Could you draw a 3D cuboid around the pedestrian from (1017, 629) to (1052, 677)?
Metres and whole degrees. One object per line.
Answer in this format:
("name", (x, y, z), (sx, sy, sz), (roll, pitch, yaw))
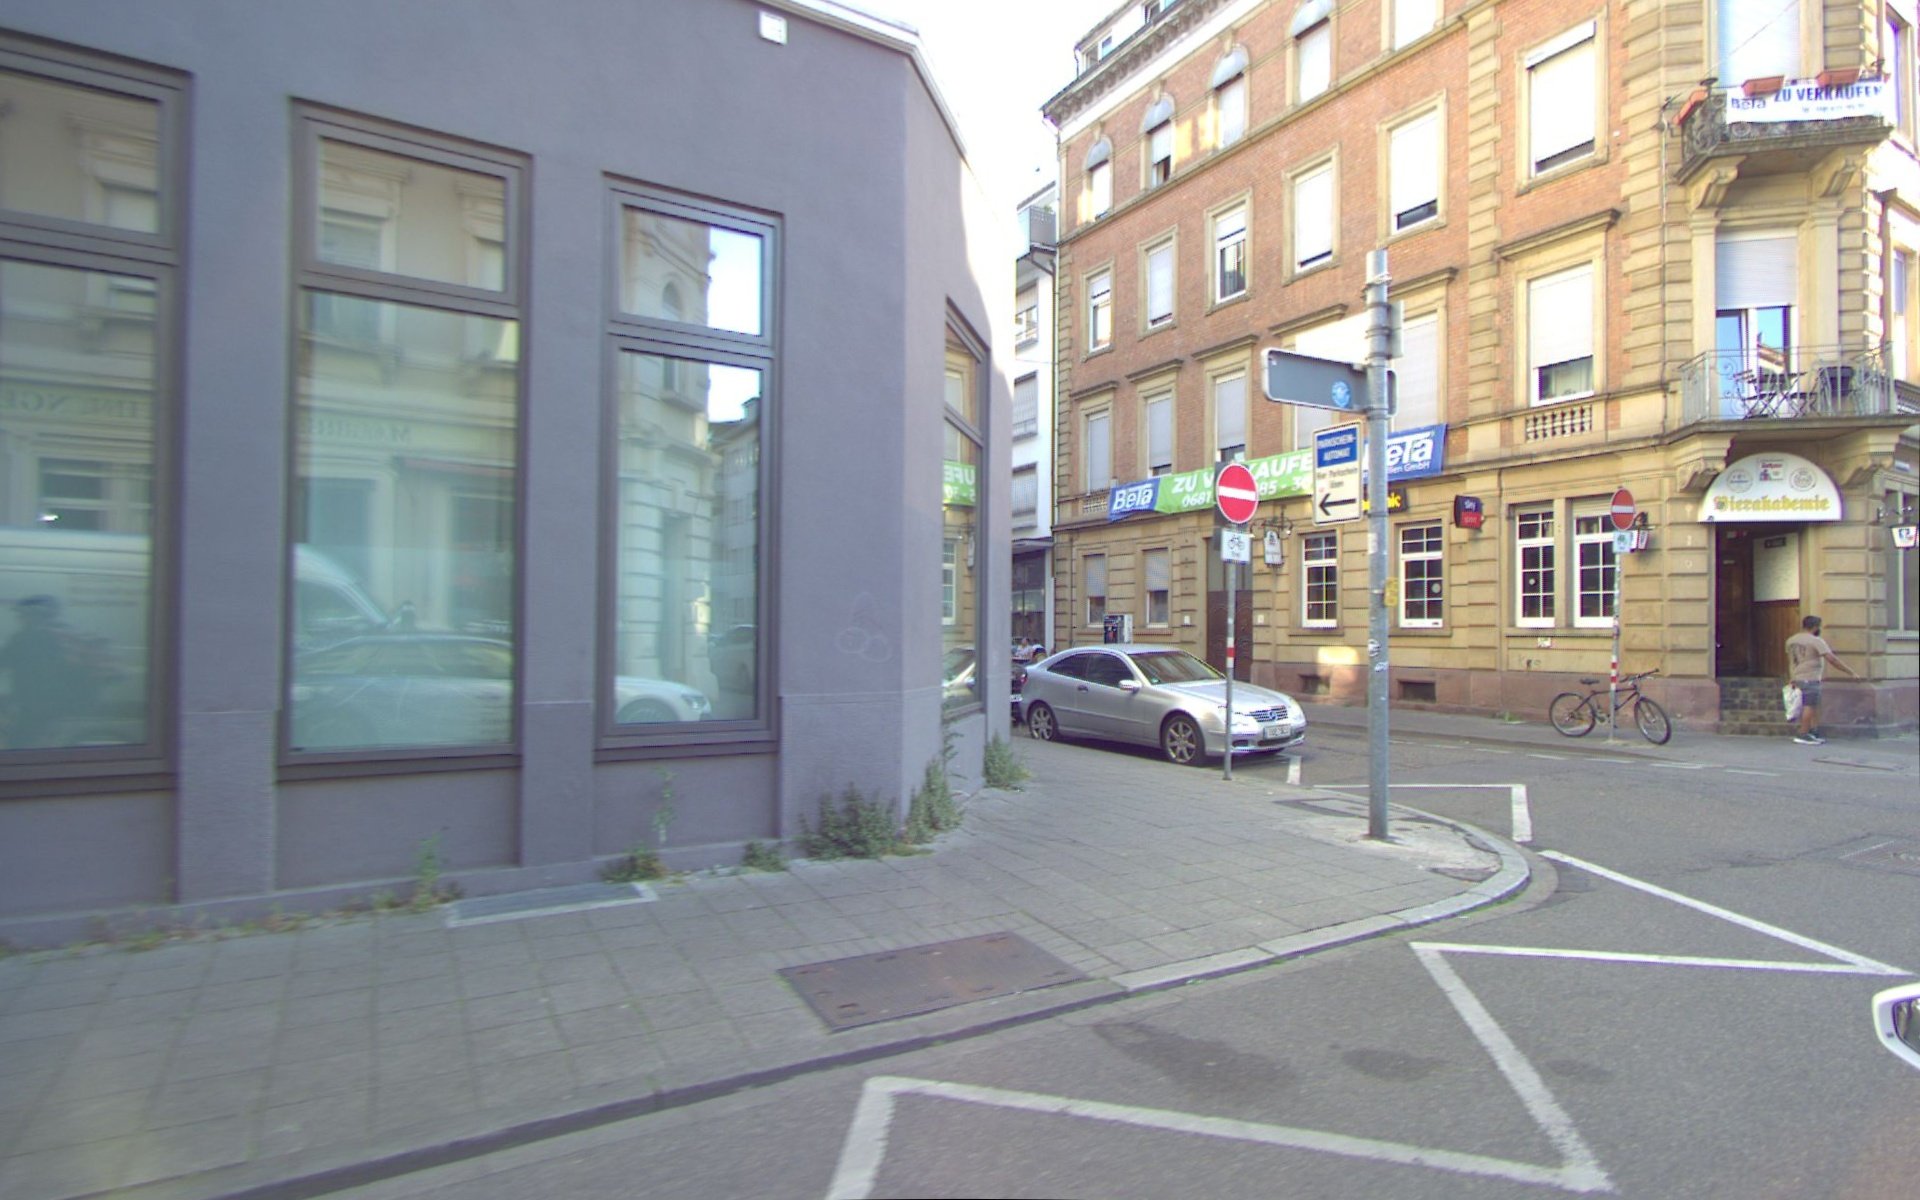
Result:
("pedestrian", (2.169, 1.541, 29.383), (0.823, 1.357, 0.804), (1, -1, -10))

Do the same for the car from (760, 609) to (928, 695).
("car", (-2.801, 1.153, 23.280), (2.310, 1.767, 4.452), (1, -2, -30))

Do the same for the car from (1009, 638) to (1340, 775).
("car", (2.637, 1.267, 13.444), (1.737, 1.420, 4.450), (0, -1, -32))

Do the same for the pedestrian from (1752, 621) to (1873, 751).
("pedestrian", (12.092, 1.188, 14.296), (0.996, 1.765, 0.985), (0, -1, 18))

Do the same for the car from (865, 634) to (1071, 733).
("car", (0.016, 1.418, 18.317), (1.991, 1.545, 4.085), (1, -2, -30))

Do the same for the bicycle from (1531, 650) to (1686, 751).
("bicycle", (9.358, 1.408, 14.552), (0.654, 1.292, 1.747), (-3, 1, -34))
